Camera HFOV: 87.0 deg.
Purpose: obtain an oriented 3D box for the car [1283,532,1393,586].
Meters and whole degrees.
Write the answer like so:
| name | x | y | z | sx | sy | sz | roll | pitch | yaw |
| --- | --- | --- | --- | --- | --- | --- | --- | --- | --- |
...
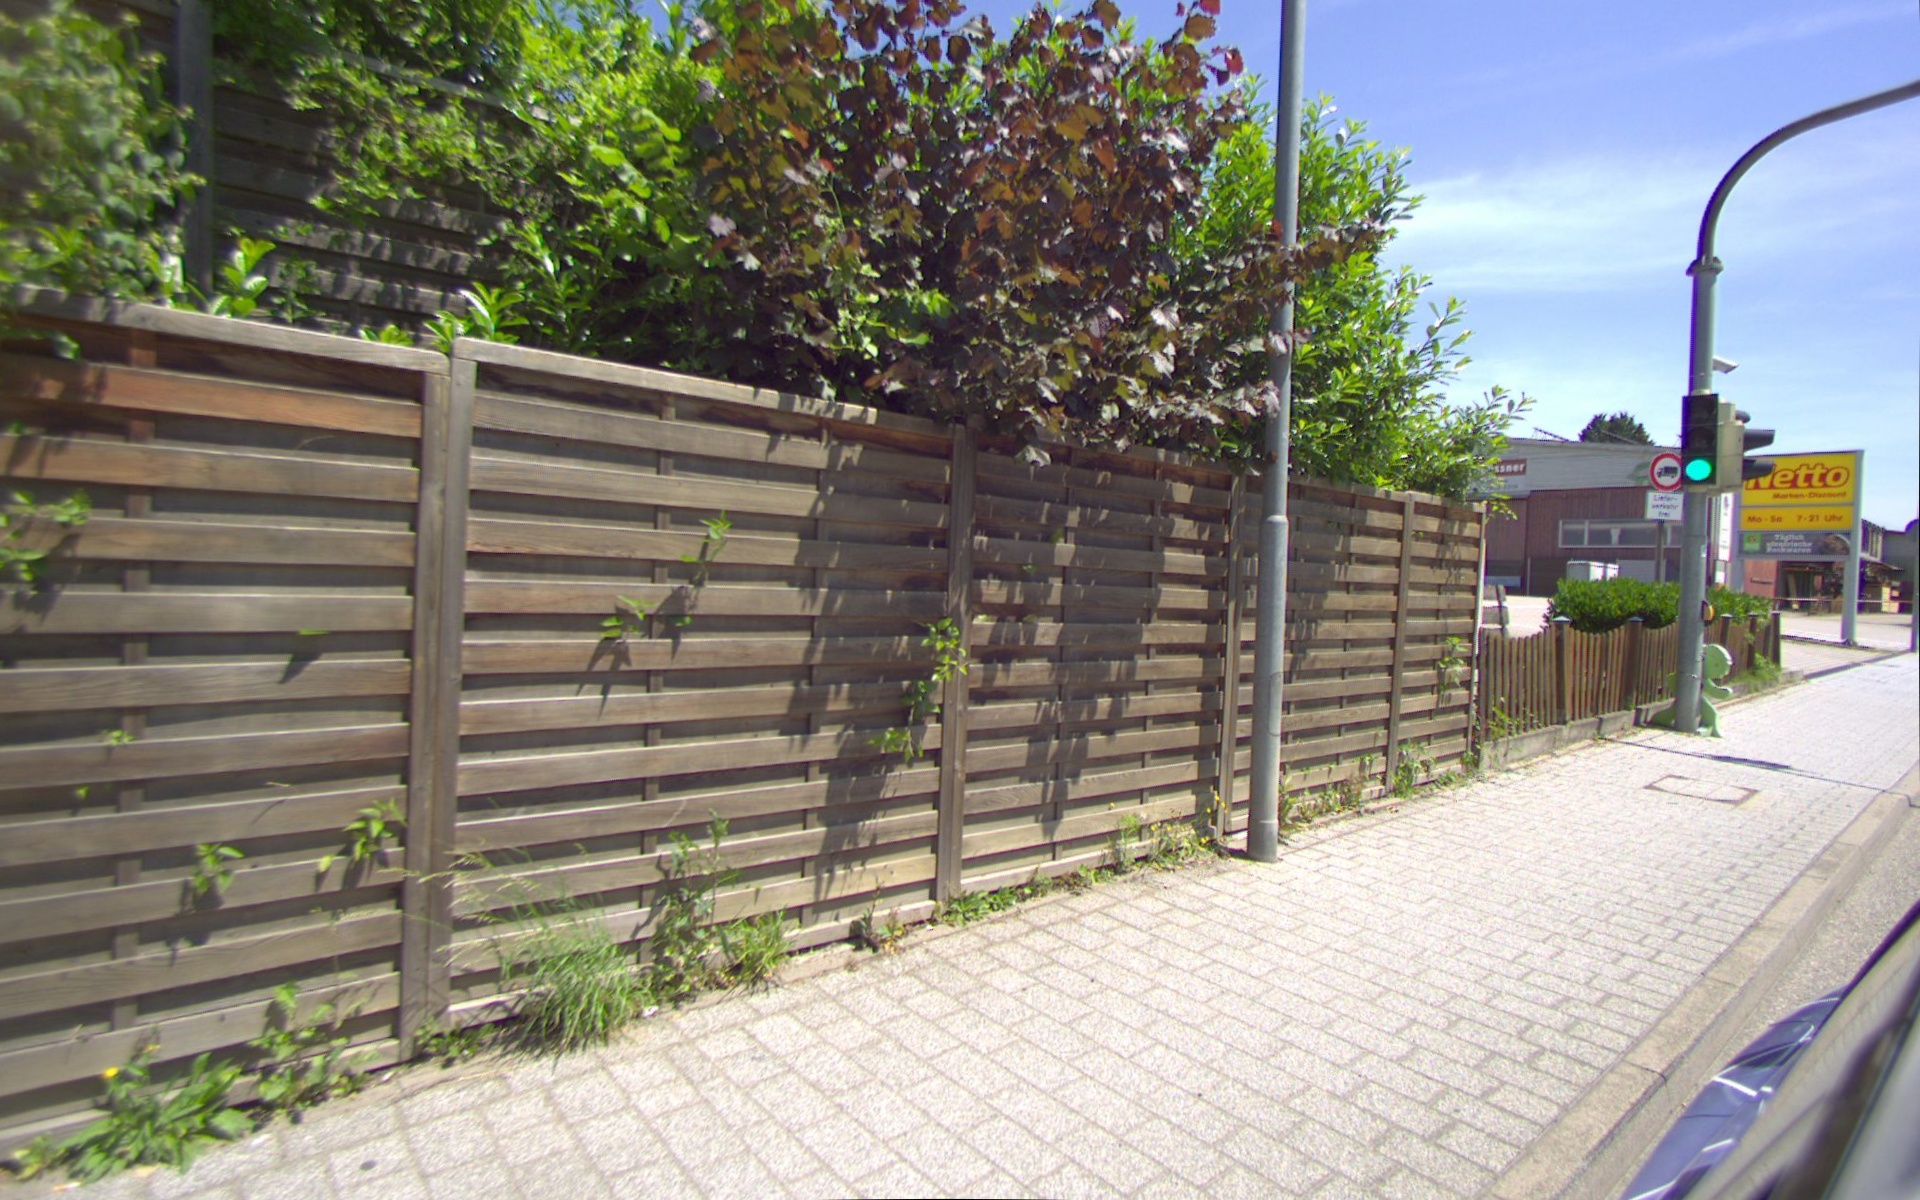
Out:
| name | x | y | z | sx | sy | sz | roll | pitch | yaw |
| --- | --- | --- | --- | --- | --- | --- | --- | --- | --- |
| car | 12.868 | -1.370 | 34.342 | 4.140 | 1.615 | 1.910 | 1 | 3 | -45 |
